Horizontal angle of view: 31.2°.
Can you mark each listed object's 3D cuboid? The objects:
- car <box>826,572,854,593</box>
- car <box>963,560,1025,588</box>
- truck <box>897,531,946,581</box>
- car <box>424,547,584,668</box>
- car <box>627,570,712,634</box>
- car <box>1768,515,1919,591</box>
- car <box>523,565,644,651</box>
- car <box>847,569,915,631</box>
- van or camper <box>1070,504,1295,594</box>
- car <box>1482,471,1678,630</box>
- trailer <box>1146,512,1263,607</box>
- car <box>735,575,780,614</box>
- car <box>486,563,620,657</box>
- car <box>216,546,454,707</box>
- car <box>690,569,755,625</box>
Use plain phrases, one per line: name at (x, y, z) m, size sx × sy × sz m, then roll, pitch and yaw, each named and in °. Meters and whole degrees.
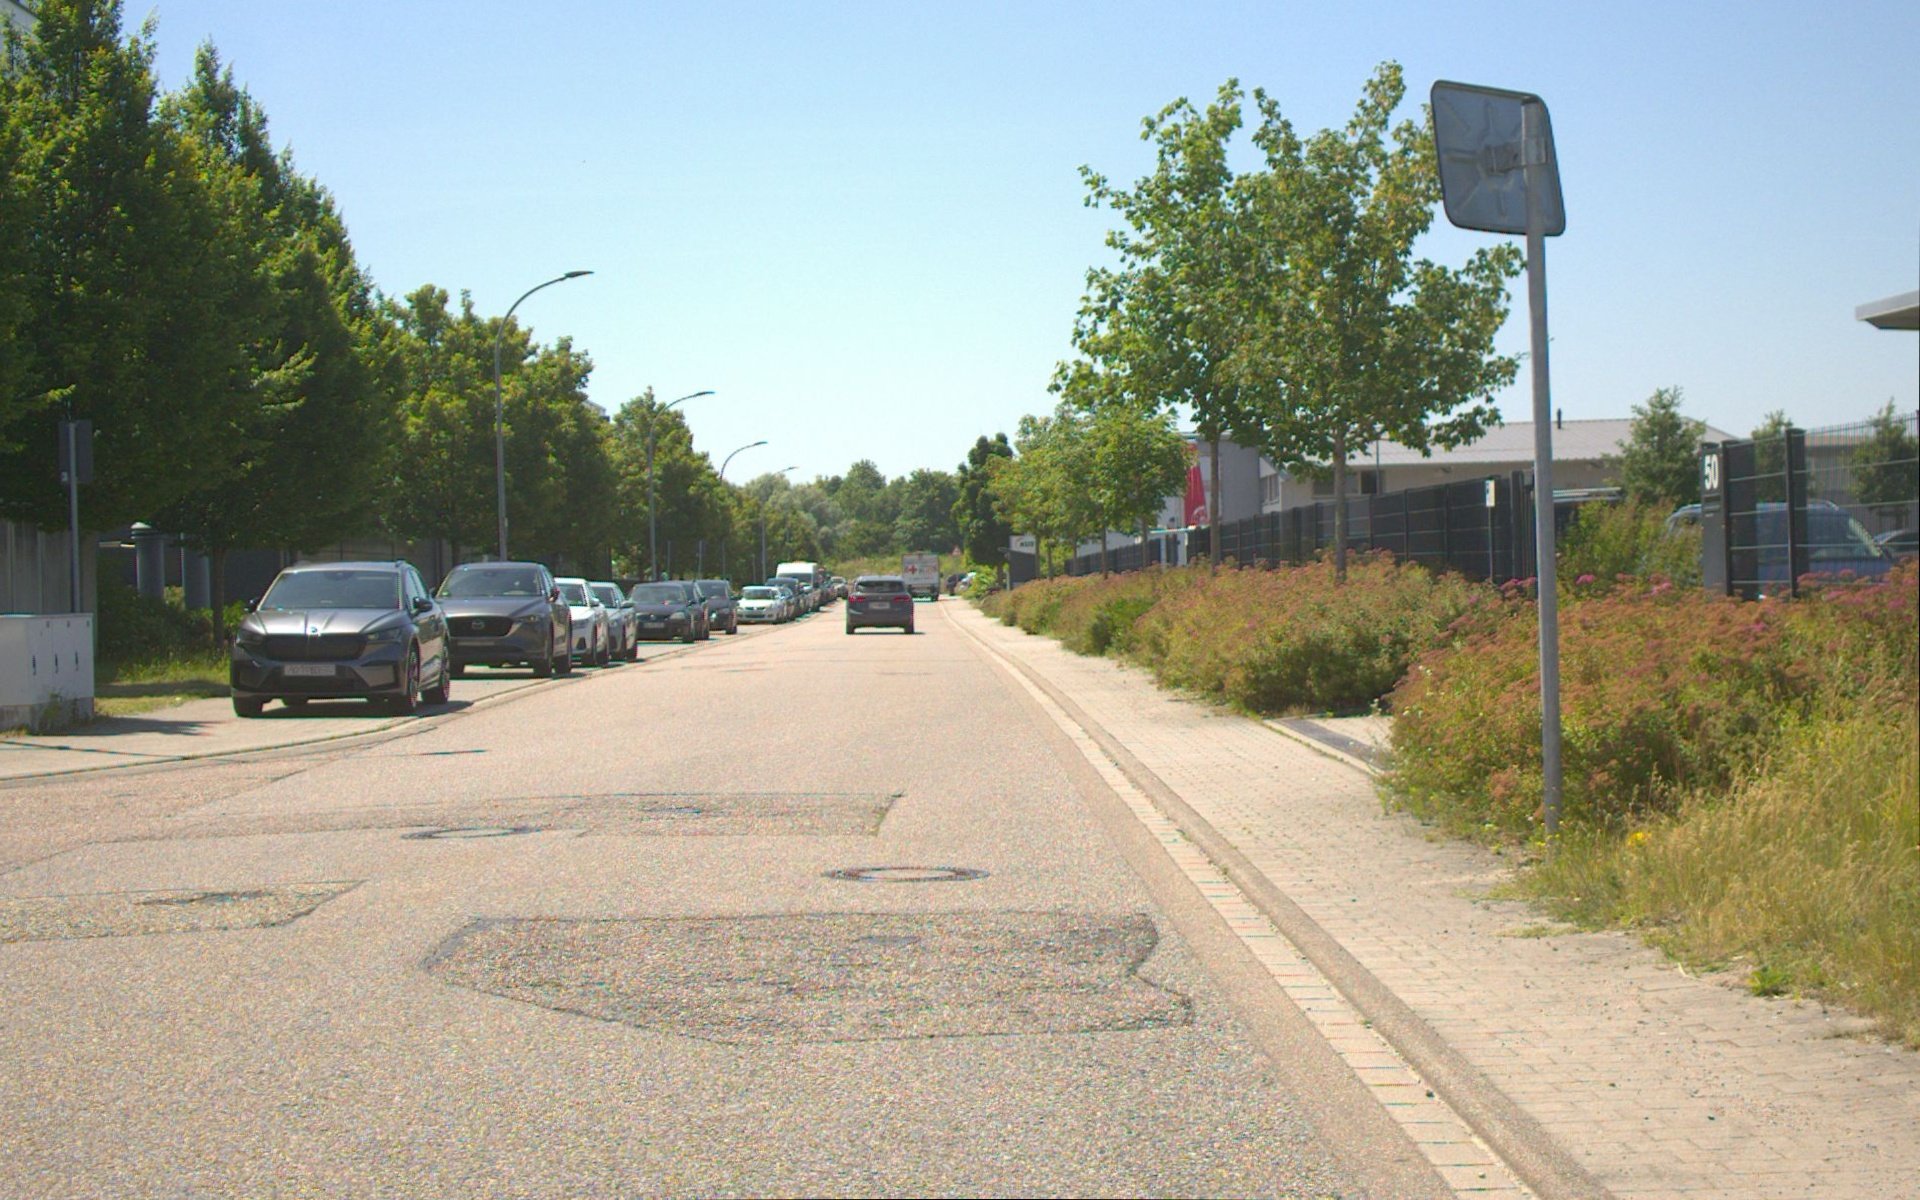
car at (-8.858, -1.269, 253.848) m, size 1.799 × 1.482 × 4.252 m, roll -1°, pitch 1°, yaw 1°
car at (2.212, -1.680, 222.584) m, size 3.875 × 1.744 × 1.752 m, roll 1°, pitch 0°, yaw -3°
truck at (-2.304, -2.635, 207.389) m, size 2.933 × 2.964 × 6.419 m, roll 1°, pitch 0°, yaw 0°
car at (-6.594, 0.073, 50.151) m, size 1.771 × 1.618 × 4.583 m, roll -1°, pitch 1°, yaw -1°
car at (-7.118, 0.027, 84.555) m, size 1.771 × 1.426 × 4.201 m, roll -1°, pitch 1°, yaw -1°
car at (18.451, -0.957, 68.939) m, size 3.987 × 1.398 × 1.819 m, roll -2°, pitch 0°, yaw -1°
car at (-6.762, 0.117, 62.049) m, size 1.771 × 1.426 × 3.940 m, roll -1°, pitch 1°, yaw -1°
car at (-2.106, -0.015, 92.550) m, size 1.789 × 1.618 × 3.809 m, roll 1°, pitch 0°, yaw -1°
van or camper at (6.938, -1.590, 107.870) m, size 6.757 × 2.576 × 2.636 m, roll -2°, pitch 0°, yaw -1°
car at (8.756, -0.691, 48.885) m, size 1.876 × 2.079 × 4.226 m, roll -3°, pitch 1°, yaw -1°
trailer at (6.504, -1.074, 91.548) m, size 2.822 × 2.395 × 1.420 m, roll -3°, pitch 0°, yaw -5°
car at (-7.955, -0.230, 134.984) m, size 1.720 × 1.471 × 3.858 m, roll -1°, pitch 0°, yaw -3°
car at (-6.749, 0.136, 57.307) m, size 1.771 × 1.426 × 4.201 m, roll -1°, pitch 1°, yaw -1°
car at (-6.633, 0.258, 36.902) m, size 1.771 × 1.582 × 4.481 m, roll -1°, pitch 0°, yaw -1°
car at (-7.073, -0.093, 102.730) m, size 1.770 × 1.606 × 4.248 m, roll -1°, pitch 0°, yaw -2°
